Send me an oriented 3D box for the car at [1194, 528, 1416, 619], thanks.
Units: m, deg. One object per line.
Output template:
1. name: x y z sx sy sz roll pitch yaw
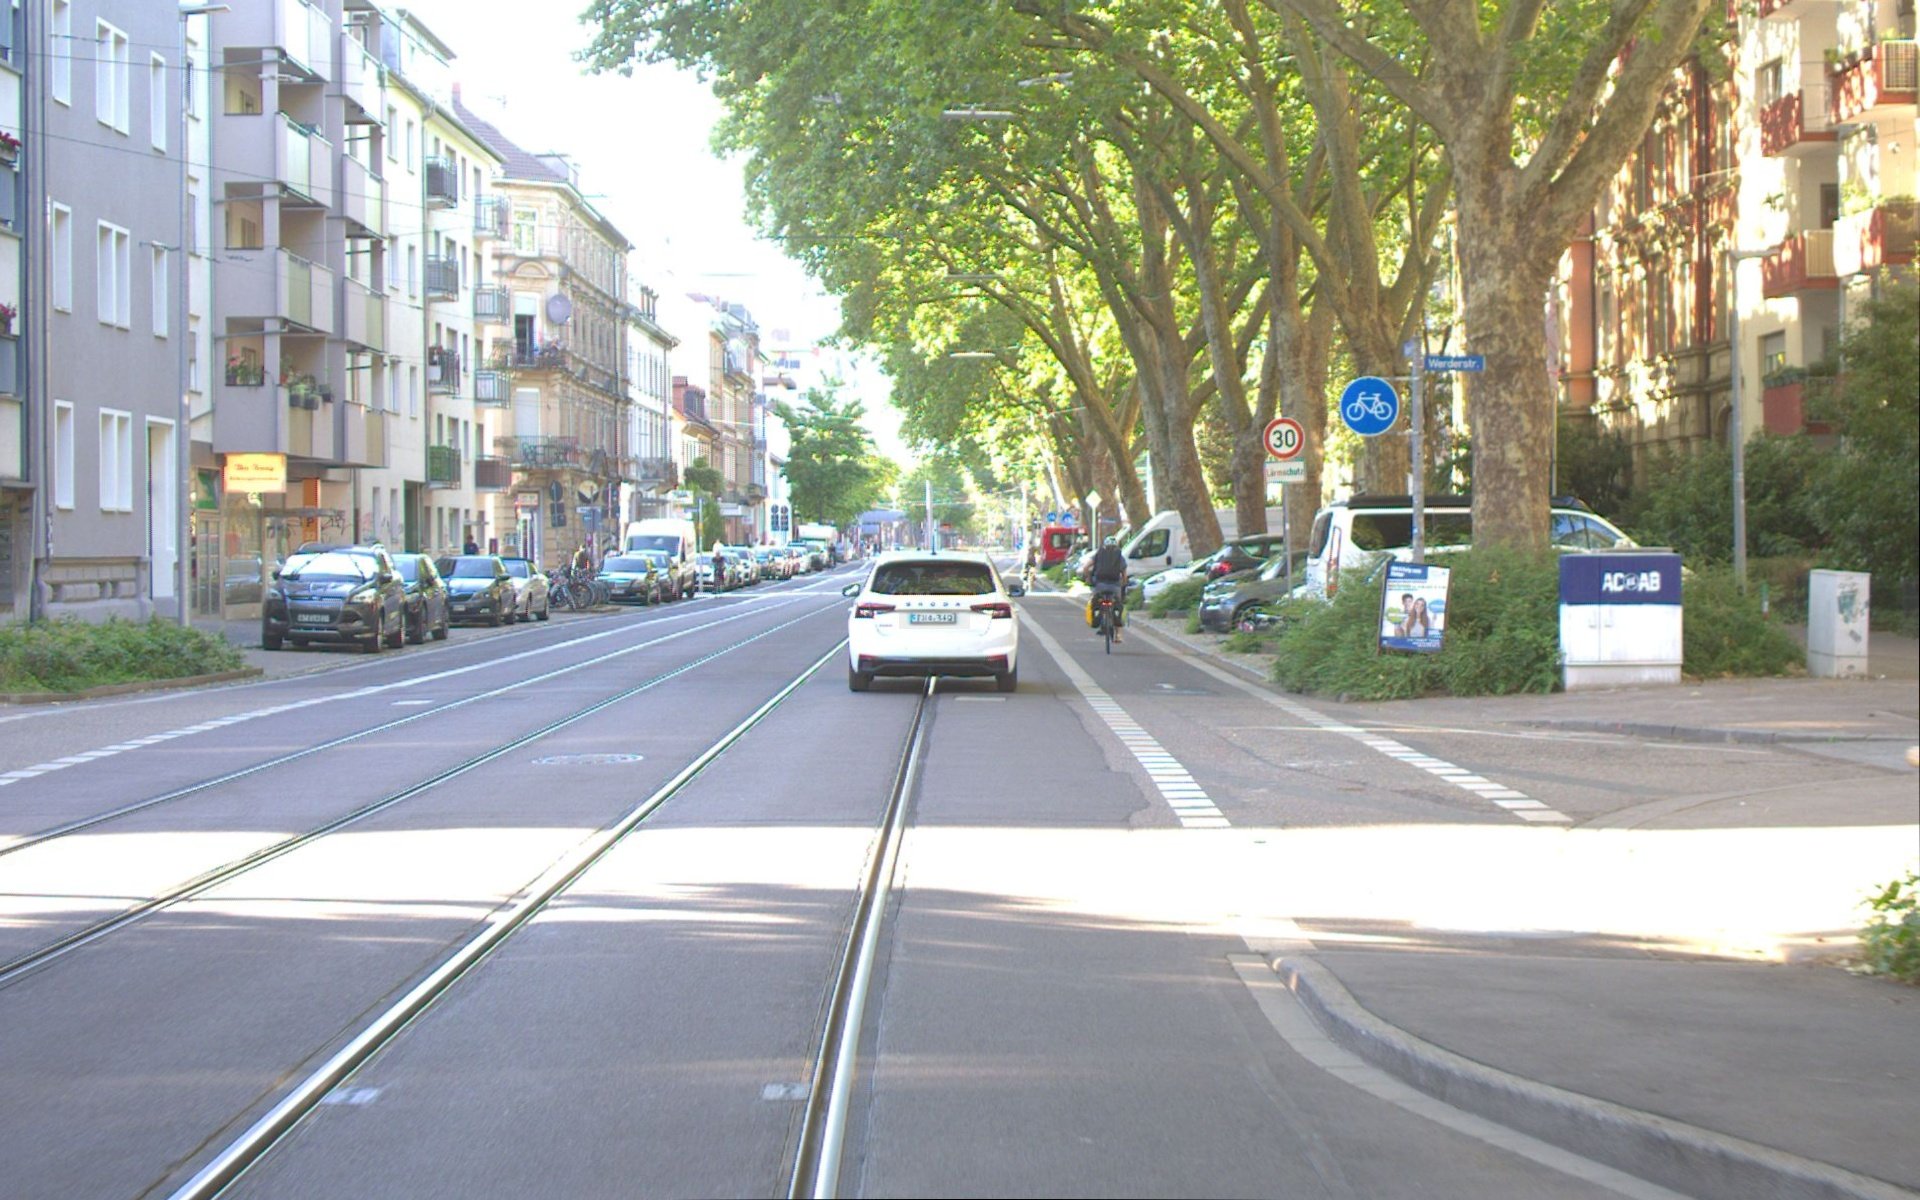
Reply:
1. car: 6.493 -0.508 64.952 3.987 1.674 1.723 0 1 -1

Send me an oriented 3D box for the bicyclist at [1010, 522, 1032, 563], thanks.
1. bicyclist: 2.031 -1.906 114.450 0.649 1.339 0.934 -1 1 -2

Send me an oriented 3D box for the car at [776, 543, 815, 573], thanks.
1. car: -9.270 -2.344 193.710 1.993 1.634 4.000 1 0 0

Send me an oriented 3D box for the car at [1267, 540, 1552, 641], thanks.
1. car: 6.737 -0.157 51.785 4.036 1.474 1.923 0 1 0

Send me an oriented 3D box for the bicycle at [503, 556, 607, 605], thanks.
1. bicycle: -10.330 -0.489 87.811 2.525 1.168 0.883 2 -1 -39

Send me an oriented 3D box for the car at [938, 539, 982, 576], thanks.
1. car: 0.020 -1.749 141.327 1.761 1.470 4.000 -1 1 1

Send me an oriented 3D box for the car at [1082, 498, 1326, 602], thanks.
1. car: 6.325 -1.316 89.813 6.130 2.626 2.529 0 1 -1

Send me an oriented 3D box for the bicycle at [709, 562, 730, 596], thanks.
1. bicycle: -7.695 -0.665 110.128 0.605 1.067 1.583 -1 1 -2

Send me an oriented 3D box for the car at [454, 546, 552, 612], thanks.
1. car: -10.046 -0.488 75.809 1.485 1.398 3.990 0 1 2

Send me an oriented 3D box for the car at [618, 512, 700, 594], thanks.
1. car: -9.734 -1.527 111.553 2.178 2.588 4.949 0 1 0

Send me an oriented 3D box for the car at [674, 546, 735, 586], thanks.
1. car: -9.788 -1.313 131.888 1.993 1.525 4.000 0 1 0

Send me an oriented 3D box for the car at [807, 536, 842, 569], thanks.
1. car: -8.459 -2.965 215.453 1.993 2.007 4.000 0 1 0

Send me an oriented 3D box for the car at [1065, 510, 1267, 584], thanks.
1. car: 6.463 -1.664 108.430 6.130 2.274 2.529 0 1 -1

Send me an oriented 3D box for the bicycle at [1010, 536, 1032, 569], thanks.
1. bicycle: 2.028 -1.583 114.473 0.649 1.067 1.583 -1 1 -2

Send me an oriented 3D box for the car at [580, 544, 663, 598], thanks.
1. car: -9.798 -0.853 99.836 1.993 1.525 4.000 0 1 0

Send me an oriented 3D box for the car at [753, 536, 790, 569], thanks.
1. car: -11.668 -2.923 213.008 1.993 2.007 4.000 0 1 0

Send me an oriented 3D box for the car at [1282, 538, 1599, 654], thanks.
1. car: 6.325 -0.069 45.543 3.897 1.474 1.724 0 1 -3

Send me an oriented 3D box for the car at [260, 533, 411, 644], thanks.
1. car: -9.950 -0.209 55.030 1.702 1.645 4.242 2 1 -2

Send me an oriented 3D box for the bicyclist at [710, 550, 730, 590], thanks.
1. bicyclist: -7.701 -0.958 110.209 0.597 1.282 0.917 -1 1 -3

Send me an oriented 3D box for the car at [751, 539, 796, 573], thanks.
1. car: -9.092 -2.136 167.878 1.993 1.634 4.000 1 0 0

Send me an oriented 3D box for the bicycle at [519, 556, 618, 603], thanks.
1. bicycle: -10.305 -0.531 90.568 2.524 1.168 0.719 2 -1 -5

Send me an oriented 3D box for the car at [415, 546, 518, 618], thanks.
1. car: -10.085 -0.385 70.465 1.653 1.432 3.837 0 1 -2

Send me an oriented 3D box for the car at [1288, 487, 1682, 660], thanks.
1. car: 6.485 -0.336 42.823 4.543 2.069 2.001 0 1 -2

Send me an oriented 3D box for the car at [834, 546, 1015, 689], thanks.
1. car: -0.336 0.143 35.815 1.761 1.379 4.000 -1 1 0

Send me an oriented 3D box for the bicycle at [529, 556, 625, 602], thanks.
1. bicycle: -10.302 -0.554 92.472 2.524 1.168 0.719 2 -1 -6

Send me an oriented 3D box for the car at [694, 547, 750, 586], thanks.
1. car: -9.756 -1.386 141.042 1.993 1.525 4.000 0 1 0

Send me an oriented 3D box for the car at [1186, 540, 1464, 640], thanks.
1. car: 5.699 -0.177 54.047 4.142 1.509 1.931 0 1 -1

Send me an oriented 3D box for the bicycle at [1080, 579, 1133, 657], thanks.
1. bicycle: 2.086 0.244 49.138 0.681 1.067 1.781 -1 1 1

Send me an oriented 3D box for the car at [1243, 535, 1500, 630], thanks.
1. car: 6.729 -0.292 56.478 3.987 1.509 1.761 0 1 -1

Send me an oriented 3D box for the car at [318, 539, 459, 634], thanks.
1. car: -9.928 -0.257 60.014 1.702 1.539 4.242 2 1 0

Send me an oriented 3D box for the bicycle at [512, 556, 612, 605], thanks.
1. bicycle: -10.267 -0.499 88.693 2.524 1.168 0.719 2 -1 -6

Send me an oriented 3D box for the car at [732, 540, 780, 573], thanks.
1. car: -9.568 -2.059 161.192 1.993 1.525 4.000 0 1 0

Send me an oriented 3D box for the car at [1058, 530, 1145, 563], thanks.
1. car: 6.750 -2.538 163.959 4.049 1.535 2.000 0 1 0

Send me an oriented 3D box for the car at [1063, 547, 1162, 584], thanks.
1. car: 6.400 -1.462 144.460 4.049 1.535 2.000 0 1 0

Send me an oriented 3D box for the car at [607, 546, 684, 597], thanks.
1. car: -9.636 -0.903 105.616 1.993 1.525 4.000 0 1 0

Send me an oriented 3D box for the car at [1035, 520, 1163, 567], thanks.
1. car: 6.806 -2.781 168.649 6.130 2.274 2.529 0 1 -1

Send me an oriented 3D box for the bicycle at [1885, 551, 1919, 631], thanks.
1. bicycle: 14.580 -0.163 50.224 1.944 1.153 0.572 -2 1 -7

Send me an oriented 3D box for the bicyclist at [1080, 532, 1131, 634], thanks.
1. bicyclist: 2.082 -0.245 49.261 0.678 1.438 1.047 -1 1 1

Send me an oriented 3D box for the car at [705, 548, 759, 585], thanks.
1. car: -9.669 -1.423 145.851 1.993 1.525 4.000 0 1 0

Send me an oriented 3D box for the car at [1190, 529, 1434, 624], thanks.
1. car: 6.381 -0.438 62.648 4.234 1.661 1.848 0 1 -1

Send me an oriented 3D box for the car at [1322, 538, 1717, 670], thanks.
1. car: 6.499 0.026 40.250 4.297 1.474 1.831 0 1 -1

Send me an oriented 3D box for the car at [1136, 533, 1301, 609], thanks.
1. car: 5.810 -0.668 77.571 3.634 1.661 1.822 0 1 3

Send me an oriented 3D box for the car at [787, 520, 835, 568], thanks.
1. car: -10.131 -3.794 234.441 2.968 3.145 5.847 1 0 0
